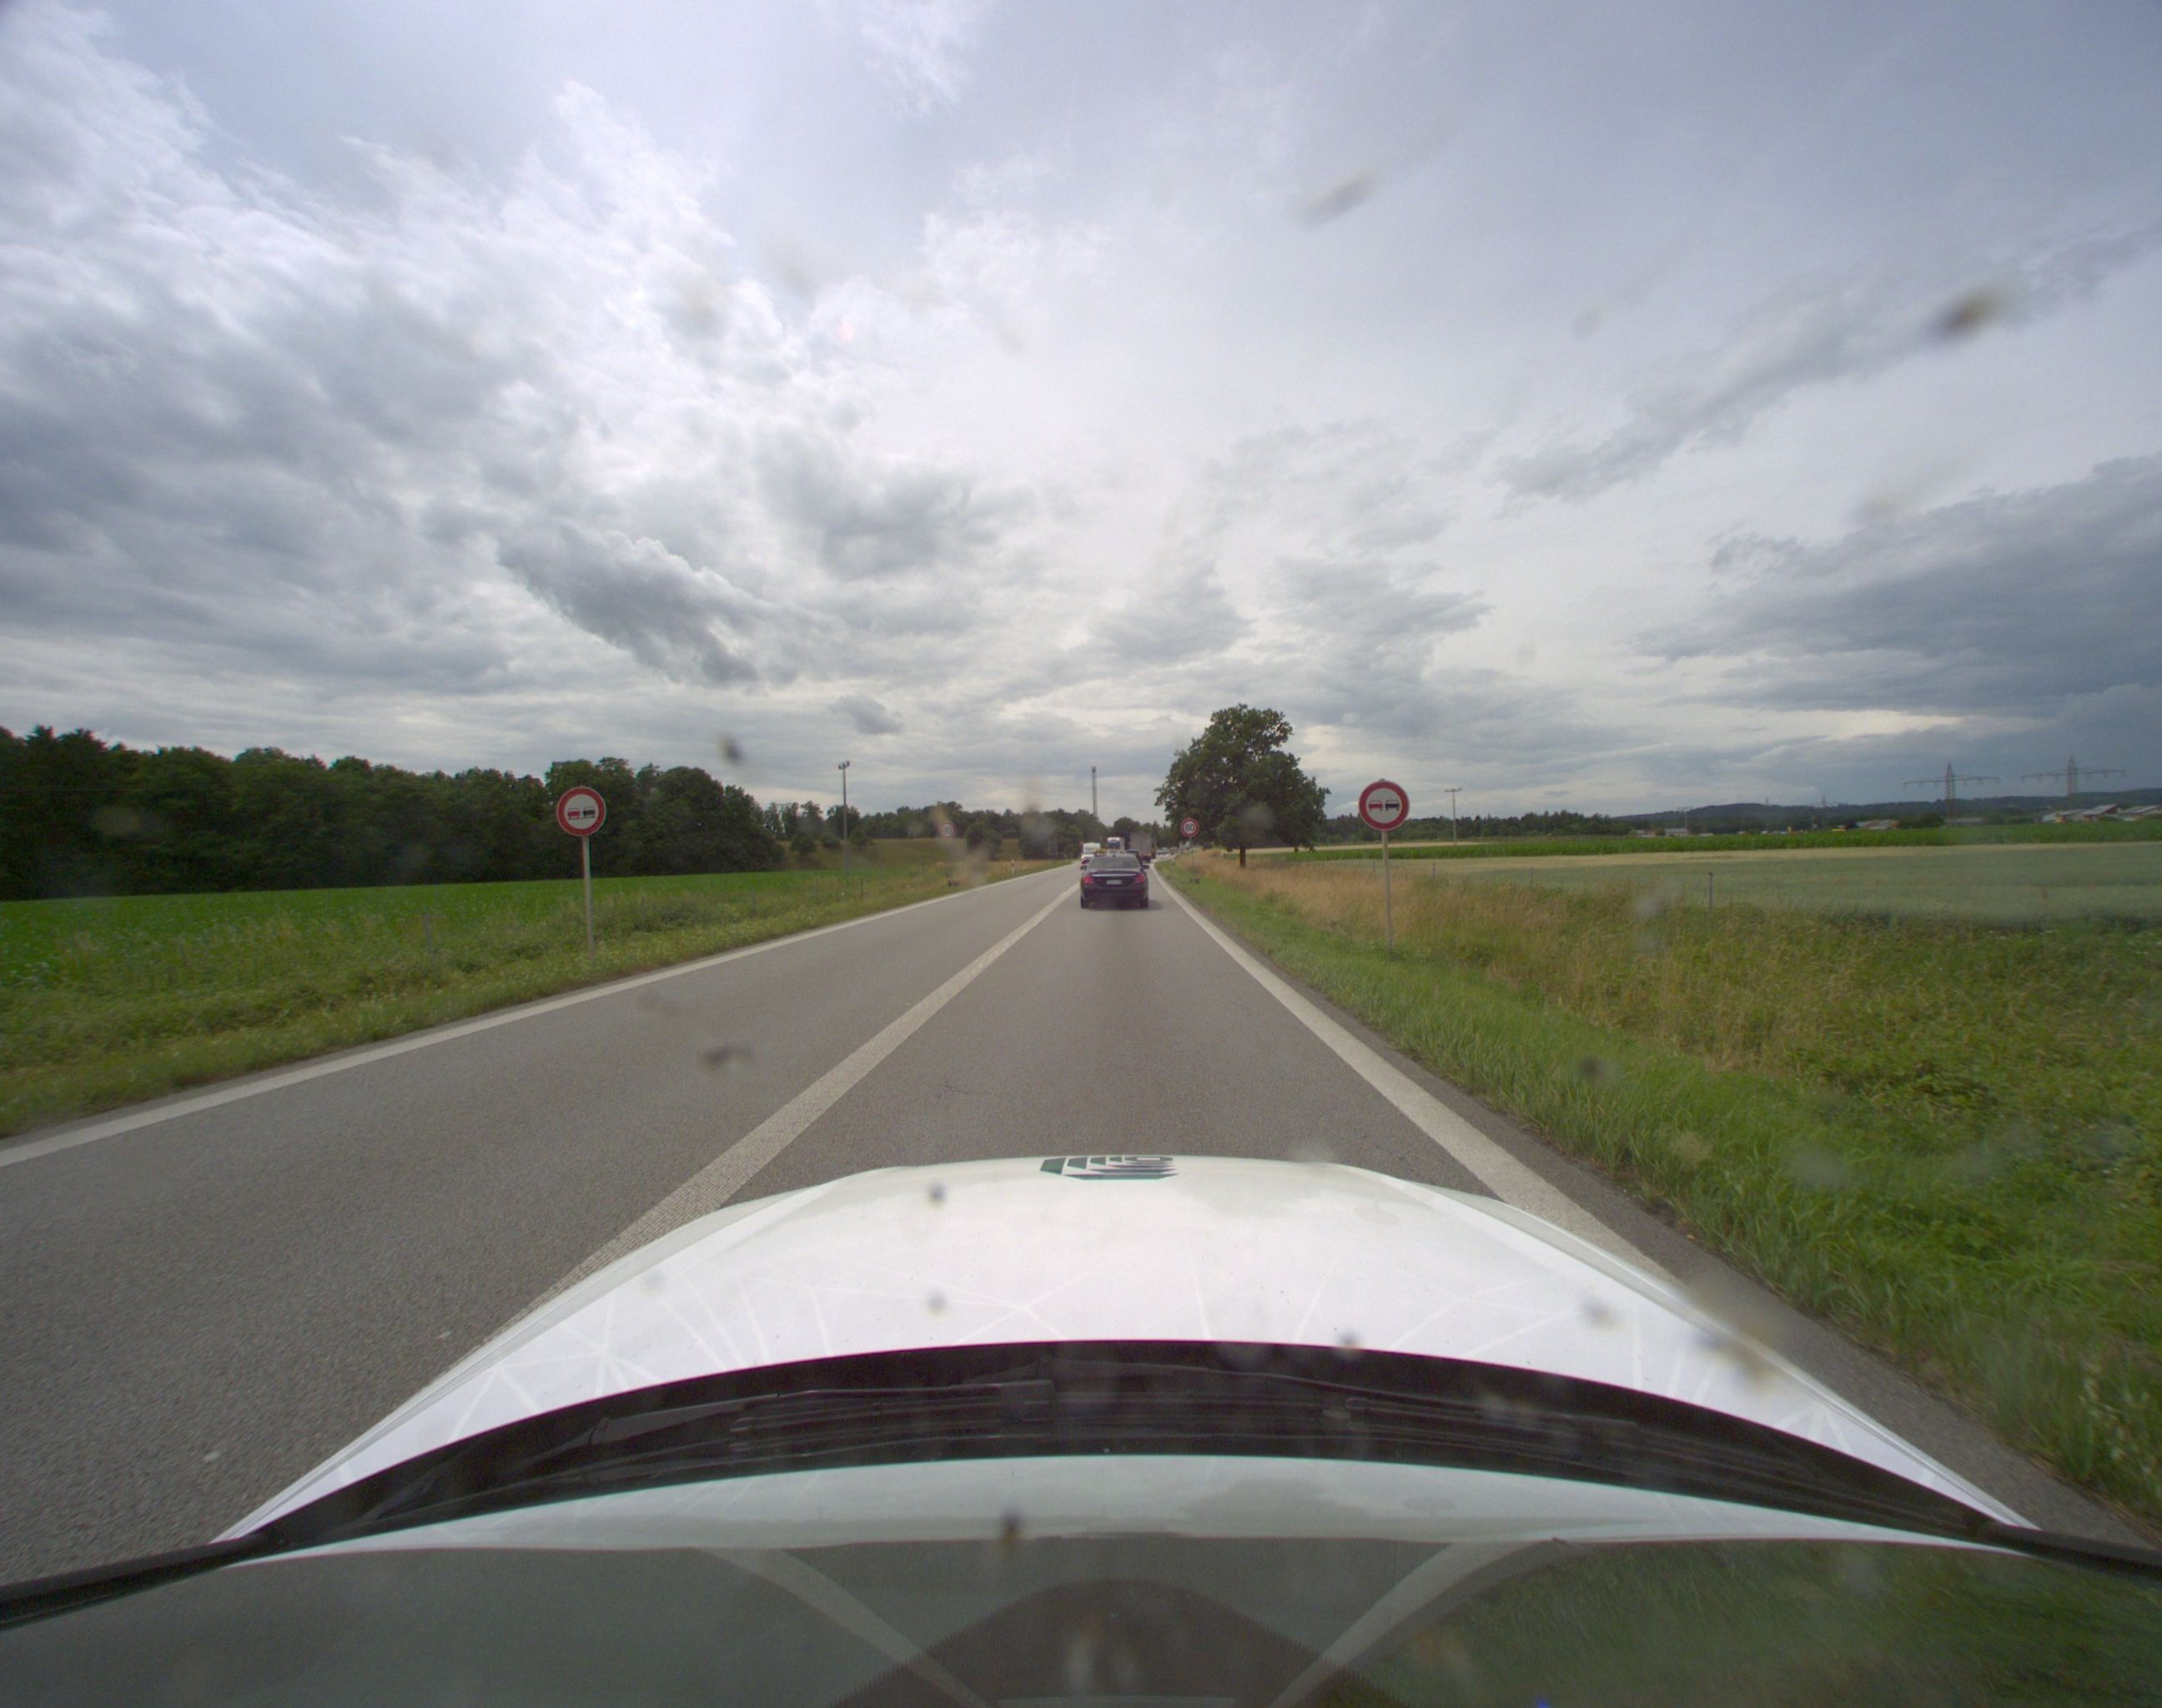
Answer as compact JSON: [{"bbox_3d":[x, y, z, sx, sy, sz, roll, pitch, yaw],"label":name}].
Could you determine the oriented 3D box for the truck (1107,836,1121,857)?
[{"bbox_3d":[6.320,-1.413,155.935,2.478,3.995,5.211,-1,0,4],"label":"truck"}]

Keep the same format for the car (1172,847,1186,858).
[{"bbox_3d":[16.191,-0.238,134.730,1.790,1.662,3.999,0,0,0],"label":"car"}]

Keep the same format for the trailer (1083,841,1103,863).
[{"bbox_3d":[1.515,-0.245,101.651,2.172,2.575,6.249,0,0,3],"label":"trailer"}]

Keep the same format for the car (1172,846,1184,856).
[{"bbox_3d":[17.701,-0.523,148.347,1.790,1.662,3.999,0,0,0],"label":"car"}]

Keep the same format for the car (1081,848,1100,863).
[{"bbox_3d":[1.139,0.183,96.363,1.997,1.657,4.331,0,0,3],"label":"car"}]

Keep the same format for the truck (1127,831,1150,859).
[{"bbox_3d":[7.210,-1.086,102.347,2.573,3.524,4.823,0,0,7],"label":"truck"}]

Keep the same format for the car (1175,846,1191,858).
[{"bbox_3d":[15.028,-0.306,119.912,1.790,1.662,3.999,0,0,0],"label":"car"}]

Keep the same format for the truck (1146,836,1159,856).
[{"bbox_3d":[12.601,-1.394,143.781,1.987,3.525,4.591,0,0,0],"label":"truck"}]

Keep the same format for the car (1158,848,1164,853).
[{"bbox_3d":[20.884,-0.865,212.454,1.641,1.395,3.711,0,0,5],"label":"car"}]

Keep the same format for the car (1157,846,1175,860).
[{"bbox_3d":[10.457,-0.126,100.662,1.790,1.662,3.999,0,0,0],"label":"car"}]

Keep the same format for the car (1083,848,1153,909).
[{"bbox_3d":[0.956,0.632,22.848,1.790,1.560,3.999,0,0,0],"label":"car"}]

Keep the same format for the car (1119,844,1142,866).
[{"bbox_3d":[4.692,0.070,77.540,1.987,2.014,3.999,0,0,0],"label":"car"}]
